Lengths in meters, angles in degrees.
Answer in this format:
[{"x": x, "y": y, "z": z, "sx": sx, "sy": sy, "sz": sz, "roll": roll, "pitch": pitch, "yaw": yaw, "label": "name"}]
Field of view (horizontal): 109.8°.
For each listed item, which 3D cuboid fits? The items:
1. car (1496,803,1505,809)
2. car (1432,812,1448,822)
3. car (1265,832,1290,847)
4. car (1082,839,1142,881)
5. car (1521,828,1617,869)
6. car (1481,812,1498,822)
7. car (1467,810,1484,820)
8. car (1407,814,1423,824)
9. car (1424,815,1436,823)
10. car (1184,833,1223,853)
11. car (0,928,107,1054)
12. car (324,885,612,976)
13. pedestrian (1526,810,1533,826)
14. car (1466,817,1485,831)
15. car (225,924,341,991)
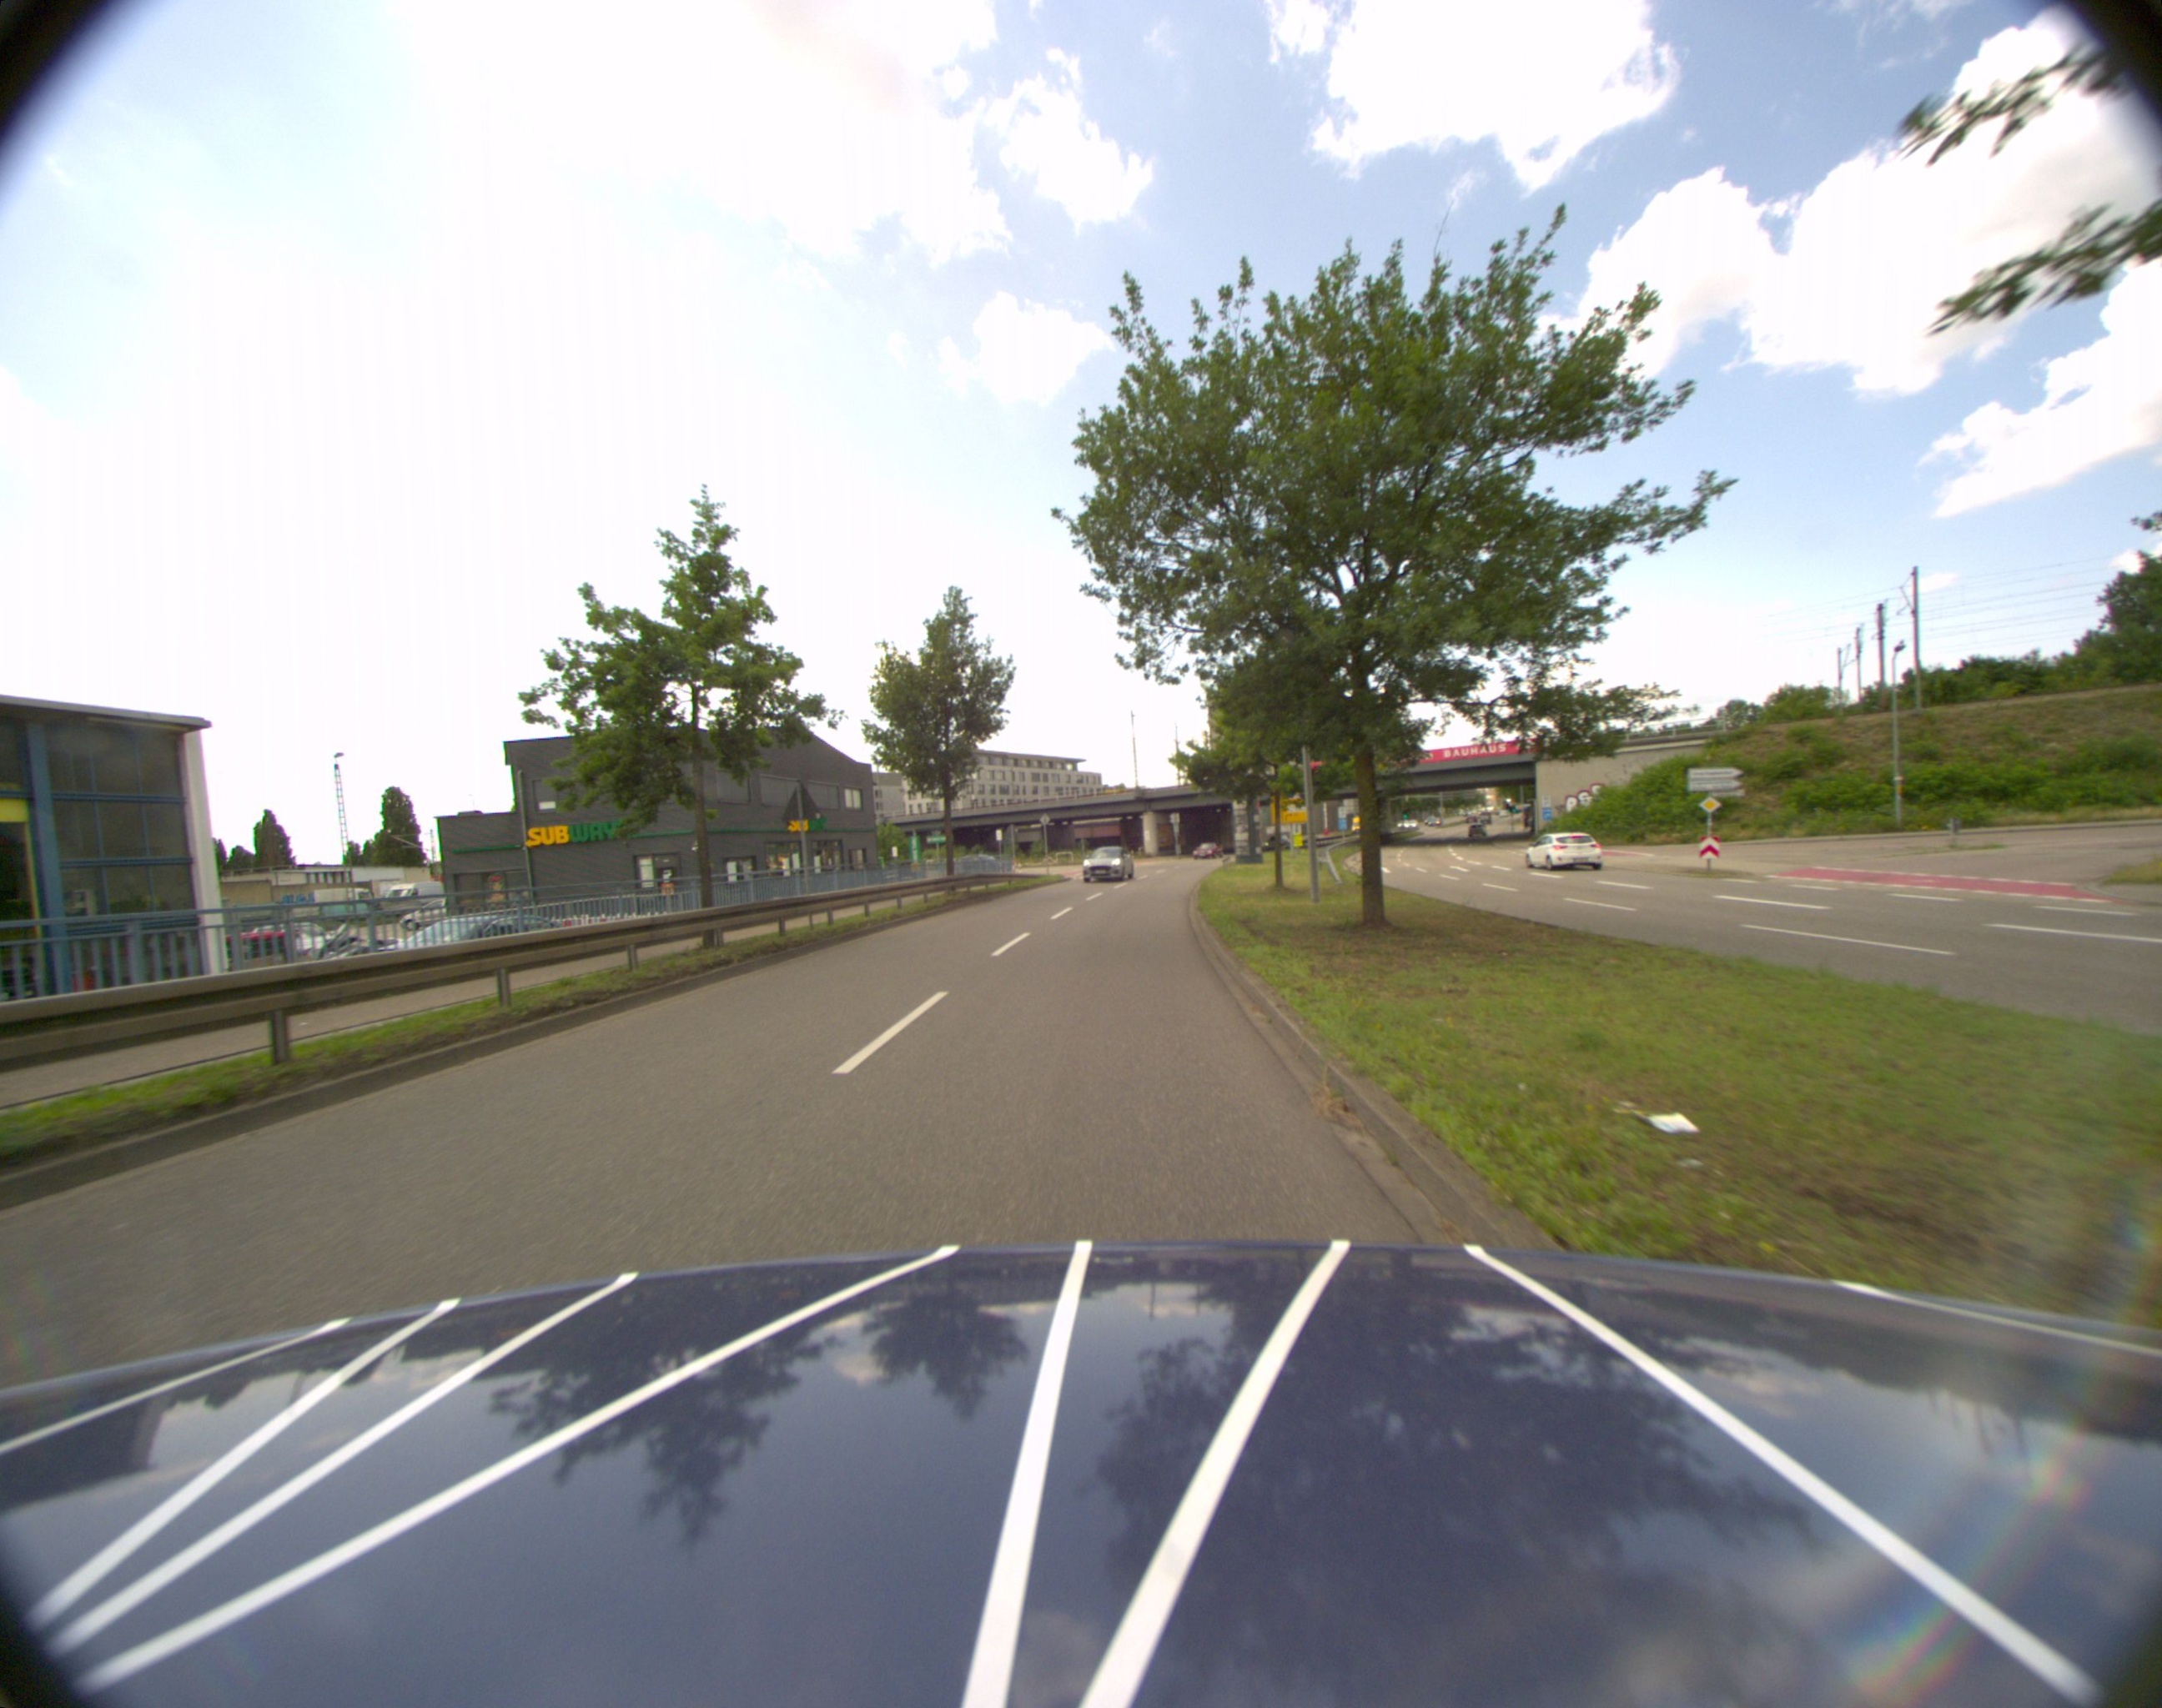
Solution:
[{"x": 116.290, "y": -13.270, "z": 210.698, "sx": 1.975, "sy": 1.381, "sz": 4.787, "roll": -2, "pitch": 3, "yaw": 32, "label": "car"}, {"x": 65.328, "y": -6.748, "z": 138.206, "sx": 1.995, "sy": 1.407, "sz": 4.839, "roll": -4, "pitch": 1, "yaw": 32, "label": "car"}, {"x": 22.649, "y": -1.659, "z": 87.388, "sx": 1.710, "sy": 1.488, "sz": 3.656, "roll": -2, "pitch": 3, "yaw": 32, "label": "car"}, {"x": 1.482, "y": 0.234, "z": 34.804, "sx": 1.822, "sy": 1.565, "sz": 3.957, "roll": -5, "pitch": 1, "yaw": 15, "label": "car"}, {"x": 19.707, "y": -0.276, "z": 30.904, "sx": 1.996, "sy": 1.523, "sz": 4.334, "roll": -1, "pitch": 2, "yaw": 14, "label": "car"}, {"x": 71.070, "y": -6.470, "z": 132.319, "sx": 1.949, "sy": 1.366, "sz": 4.006, "roll": -4, "pitch": 2, "yaw": 37, "label": "car"}, {"x": 76.206, "y": -7.477, "z": 146.713, "sx": 1.994, "sy": 1.666, "sz": 4.330, "roll": -2, "pitch": 3, "yaw": 38, "label": "car"}, {"x": 59.545, "y": -6.184, "z": 135.290, "sx": 1.917, "sy": 1.406, "sz": 4.302, "roll": -6, "pitch": 0, "yaw": 32, "label": "car"}, {"x": 71.259, "y": -7.170, "z": 155.281, "sx": 1.779, "sy": 1.488, "sz": 3.604, "roll": -2, "pitch": 3, "yaw": 32, "label": "car"}, {"x": 9.918, "y": -0.910, "z": 61.102, "sx": 1.995, "sy": 1.548, "sz": 4.288, "roll": 0, "pitch": 2, "yaw": 25, "label": "car"}, {"x": -21.593, "y": 2.623, "z": 13.462, "sx": 5.816, "sy": 2.002, "sz": 2.232, "roll": -4, "pitch": 2, "yaw": 3, "label": "car"}, {"x": -12.884, "y": 1.526, "z": 16.500, "sx": 1.997, "sy": 1.351, "sz": 4.751, "roll": -3, "pitch": 1, "yaw": 7, "label": "car"}, {"x": 49.445, "y": -3.975, "z": 83.713, "sx": 0.591, "sy": 1.671, "sz": 0.557, "roll": -2, "pitch": 3, "yaw": 30, "label": "pedestrian"}, {"x": 44.951, "y": -3.401, "z": 86.629, "sx": 1.753, "sy": 1.502, "sz": 4.006, "roll": -3, "pitch": 1, "yaw": 26, "label": "car"}, {"x": -22.271, "y": 2.814, "z": 21.371, "sx": 2.004, "sy": 1.278, "sz": 4.367, "roll": -4, "pitch": 1, "yaw": -44, "label": "car"}]
